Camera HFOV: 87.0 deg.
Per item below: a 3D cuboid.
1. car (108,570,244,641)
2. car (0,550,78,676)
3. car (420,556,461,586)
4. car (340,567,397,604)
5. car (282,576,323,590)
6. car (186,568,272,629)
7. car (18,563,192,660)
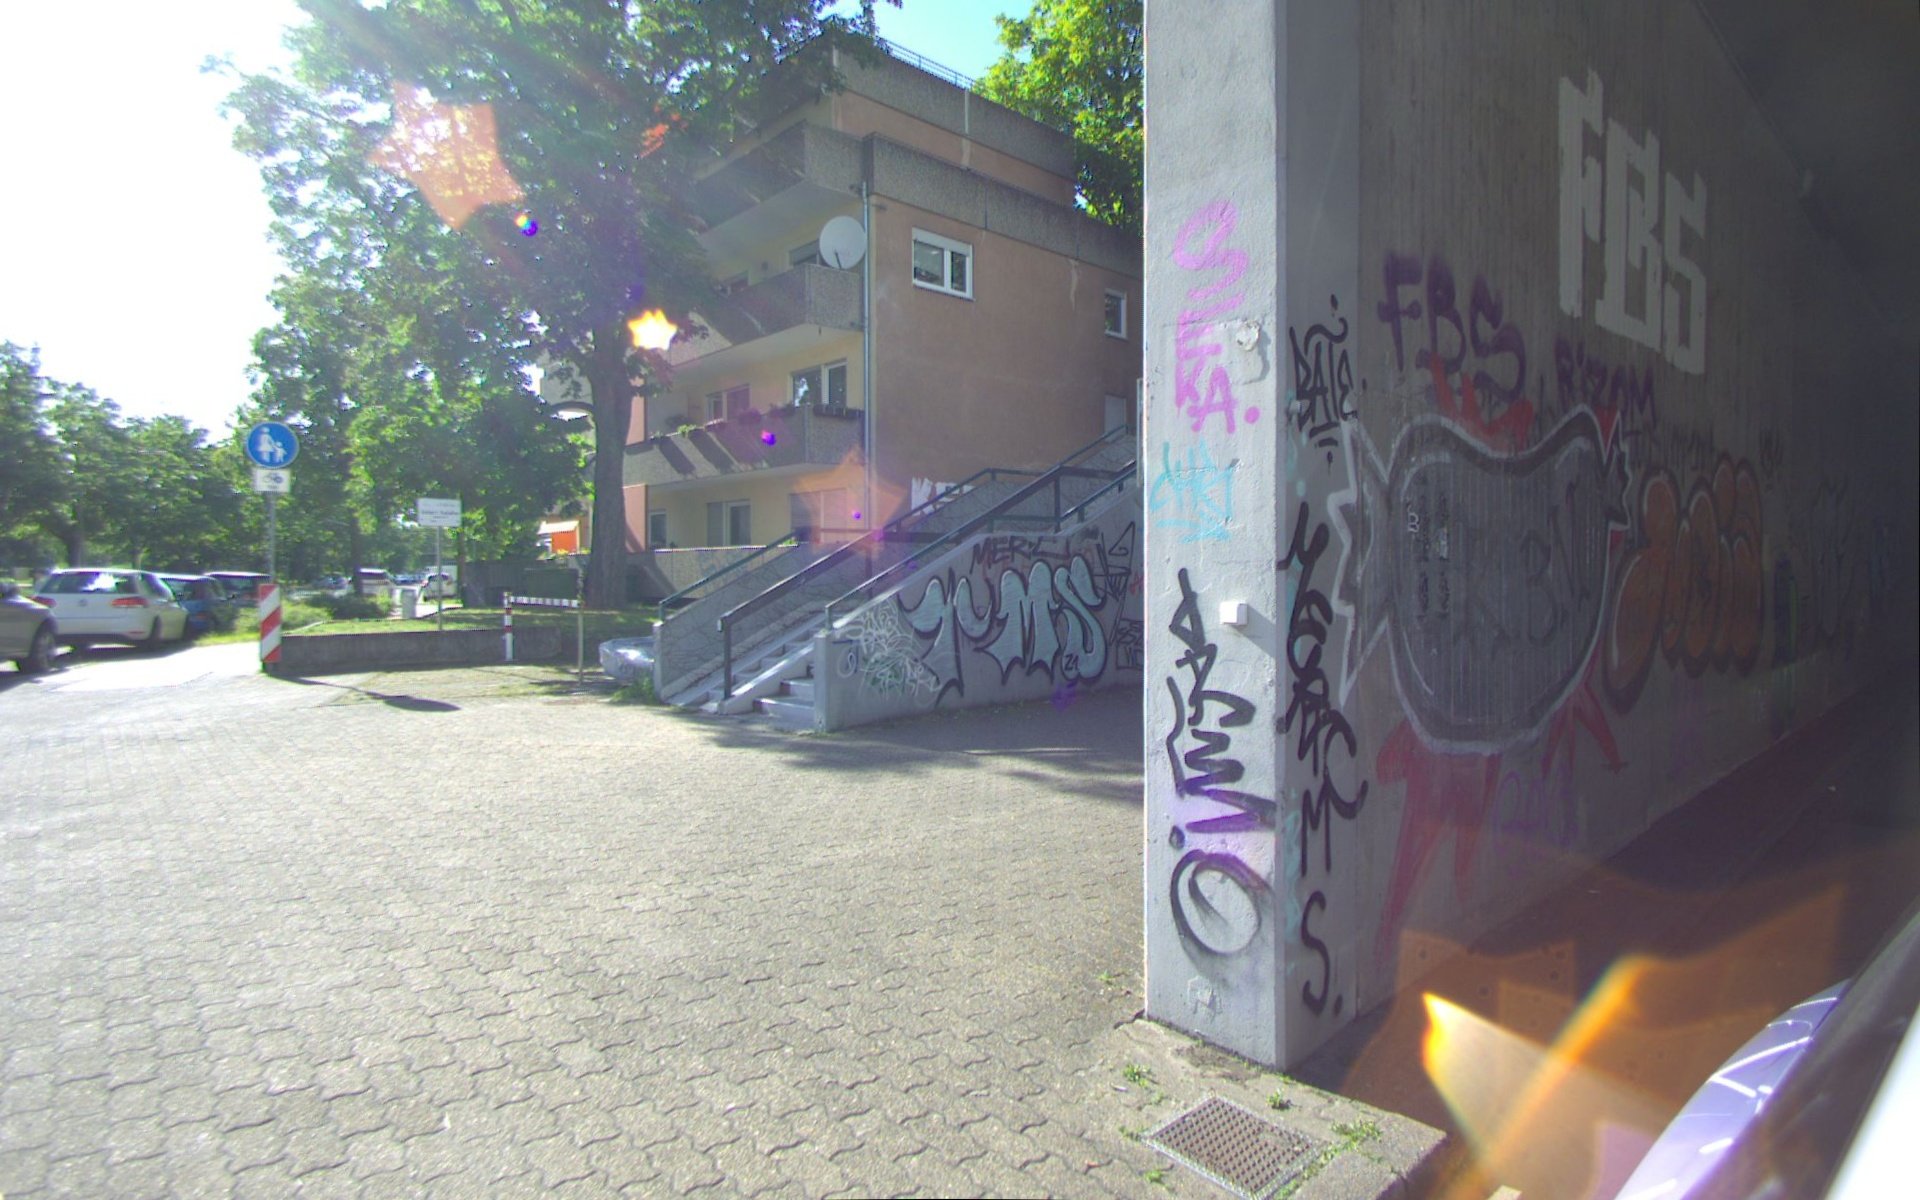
[{"bbox_3d":[-17.245,0.077,22.418,1.631,1.423,3.300,1,2,-24],"label":"car"},{"bbox_3d":[-13.435,0.185,12.880,1.895,1.639,4.333,-1,2,-20],"label":"car"},{"bbox_3d":[-30.960,-1.725,60.386,1.772,1.695,3.885,-1,2,-21],"label":"car"},{"bbox_3d":[-26.707,-0.674,45.759,1.772,1.567,3.544,1,1,-23],"label":"car"},{"bbox_3d":[-66.196,-1.729,101.950,3.269,1.304,1.306,-2,1,-26],"label":"car"},{"bbox_3d":[-19.363,-0.068,26.907,1.454,1.479,3.374,1,2,-29],"label":"car"},{"bbox_3d":[-15.158,0.139,18.136,1.622,1.551,3.514,1,2,-28],"label":"car"}]
